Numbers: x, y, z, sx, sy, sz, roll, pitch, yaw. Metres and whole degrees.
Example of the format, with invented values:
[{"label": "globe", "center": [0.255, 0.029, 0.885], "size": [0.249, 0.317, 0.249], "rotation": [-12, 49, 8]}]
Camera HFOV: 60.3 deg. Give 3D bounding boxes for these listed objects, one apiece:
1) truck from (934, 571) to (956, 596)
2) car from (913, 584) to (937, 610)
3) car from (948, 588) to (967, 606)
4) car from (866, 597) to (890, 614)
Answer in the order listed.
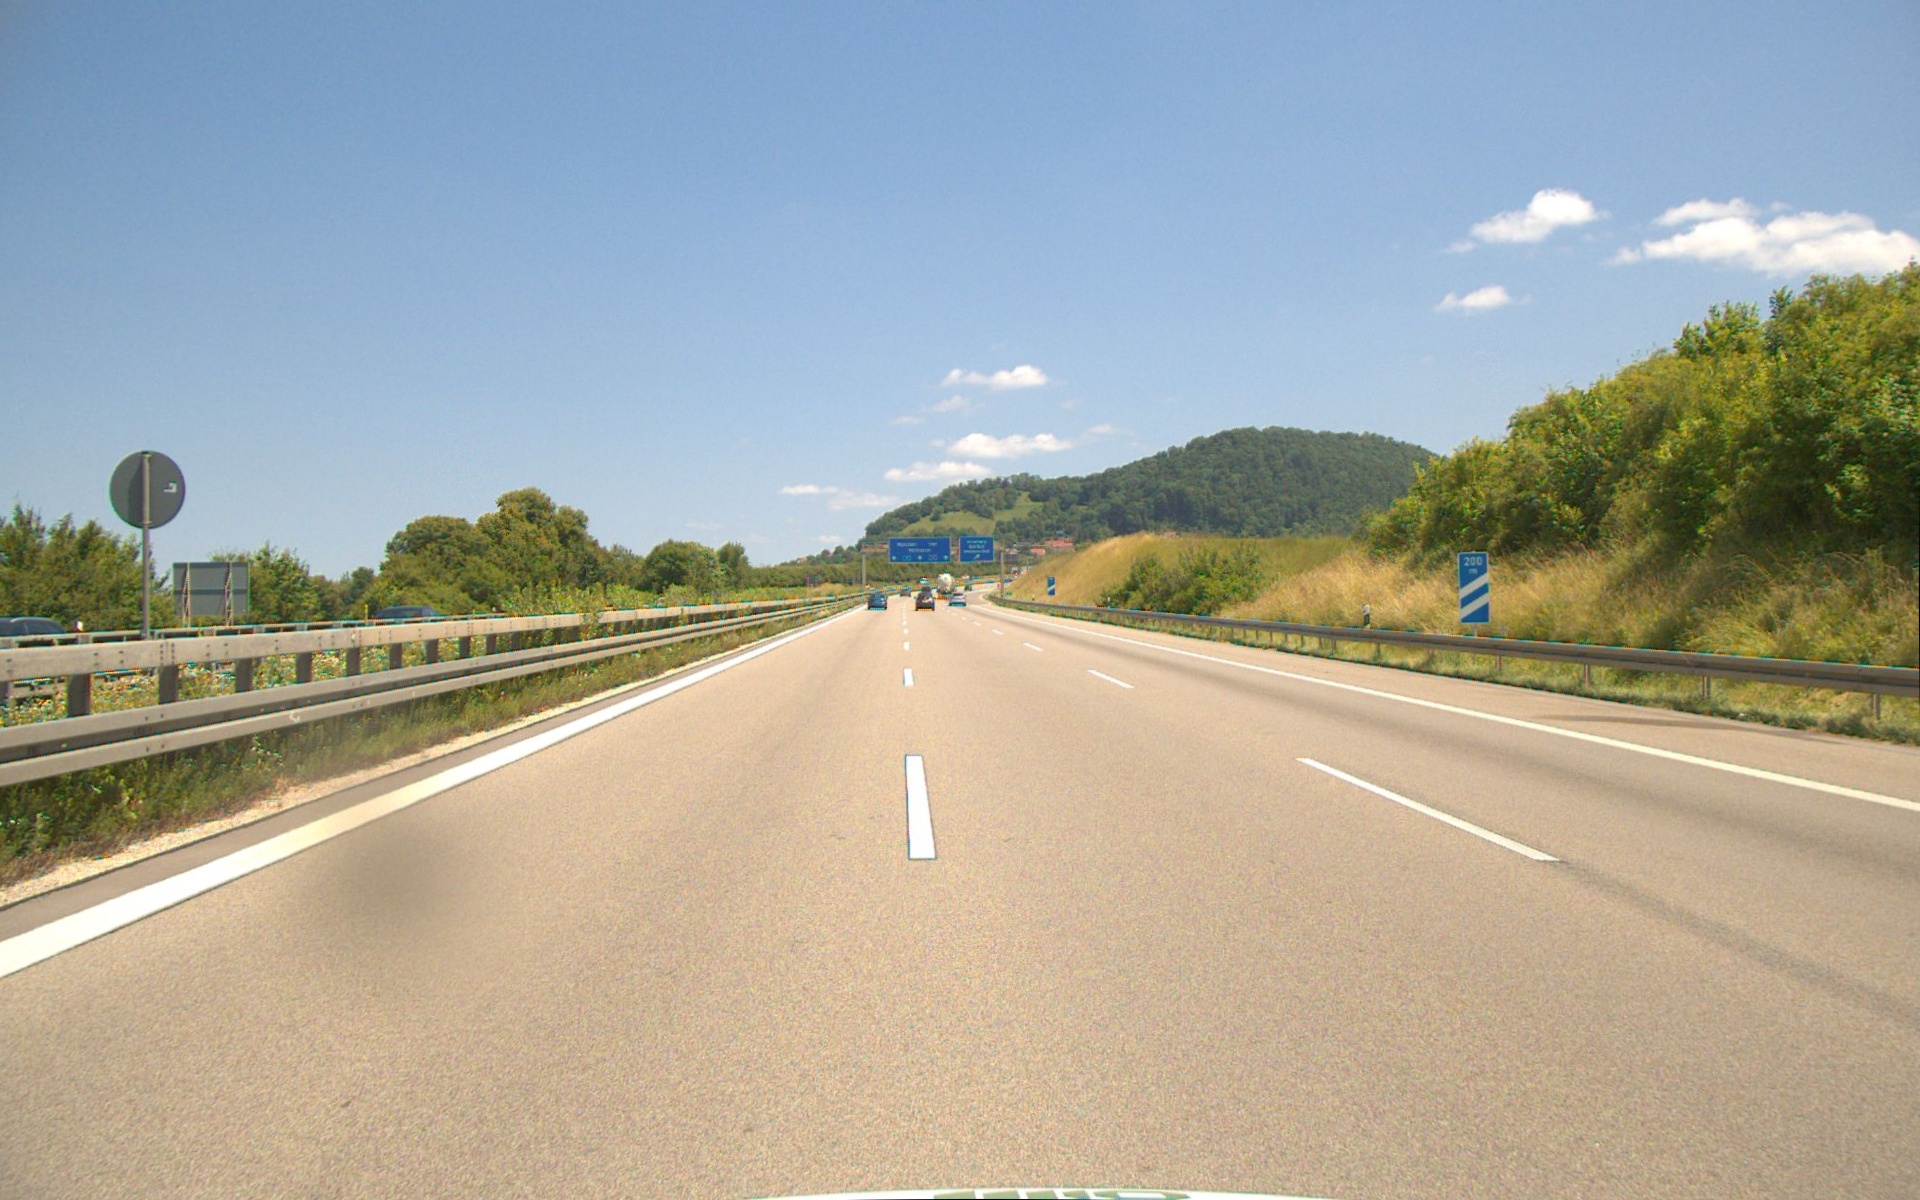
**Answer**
[{"label": "truck", "center": [-2.356, -2.535, 257.301], "size": [3.260, 3.755, 7.600], "rotation": [1, -1, -1]}, {"label": "car", "center": [-2.906, -0.225, 137.260], "size": [1.953, 2.049, 3.999], "rotation": [1, -1, -1]}, {"label": "car", "center": [-0.294, -0.300, 175.873], "size": [1.953, 1.850, 3.999], "rotation": [-2, 0, -1]}, {"label": "car", "center": [-6.996, 0.513, 142.086], "size": [1.953, 1.413, 3.999], "rotation": [1, 0, -1]}]
